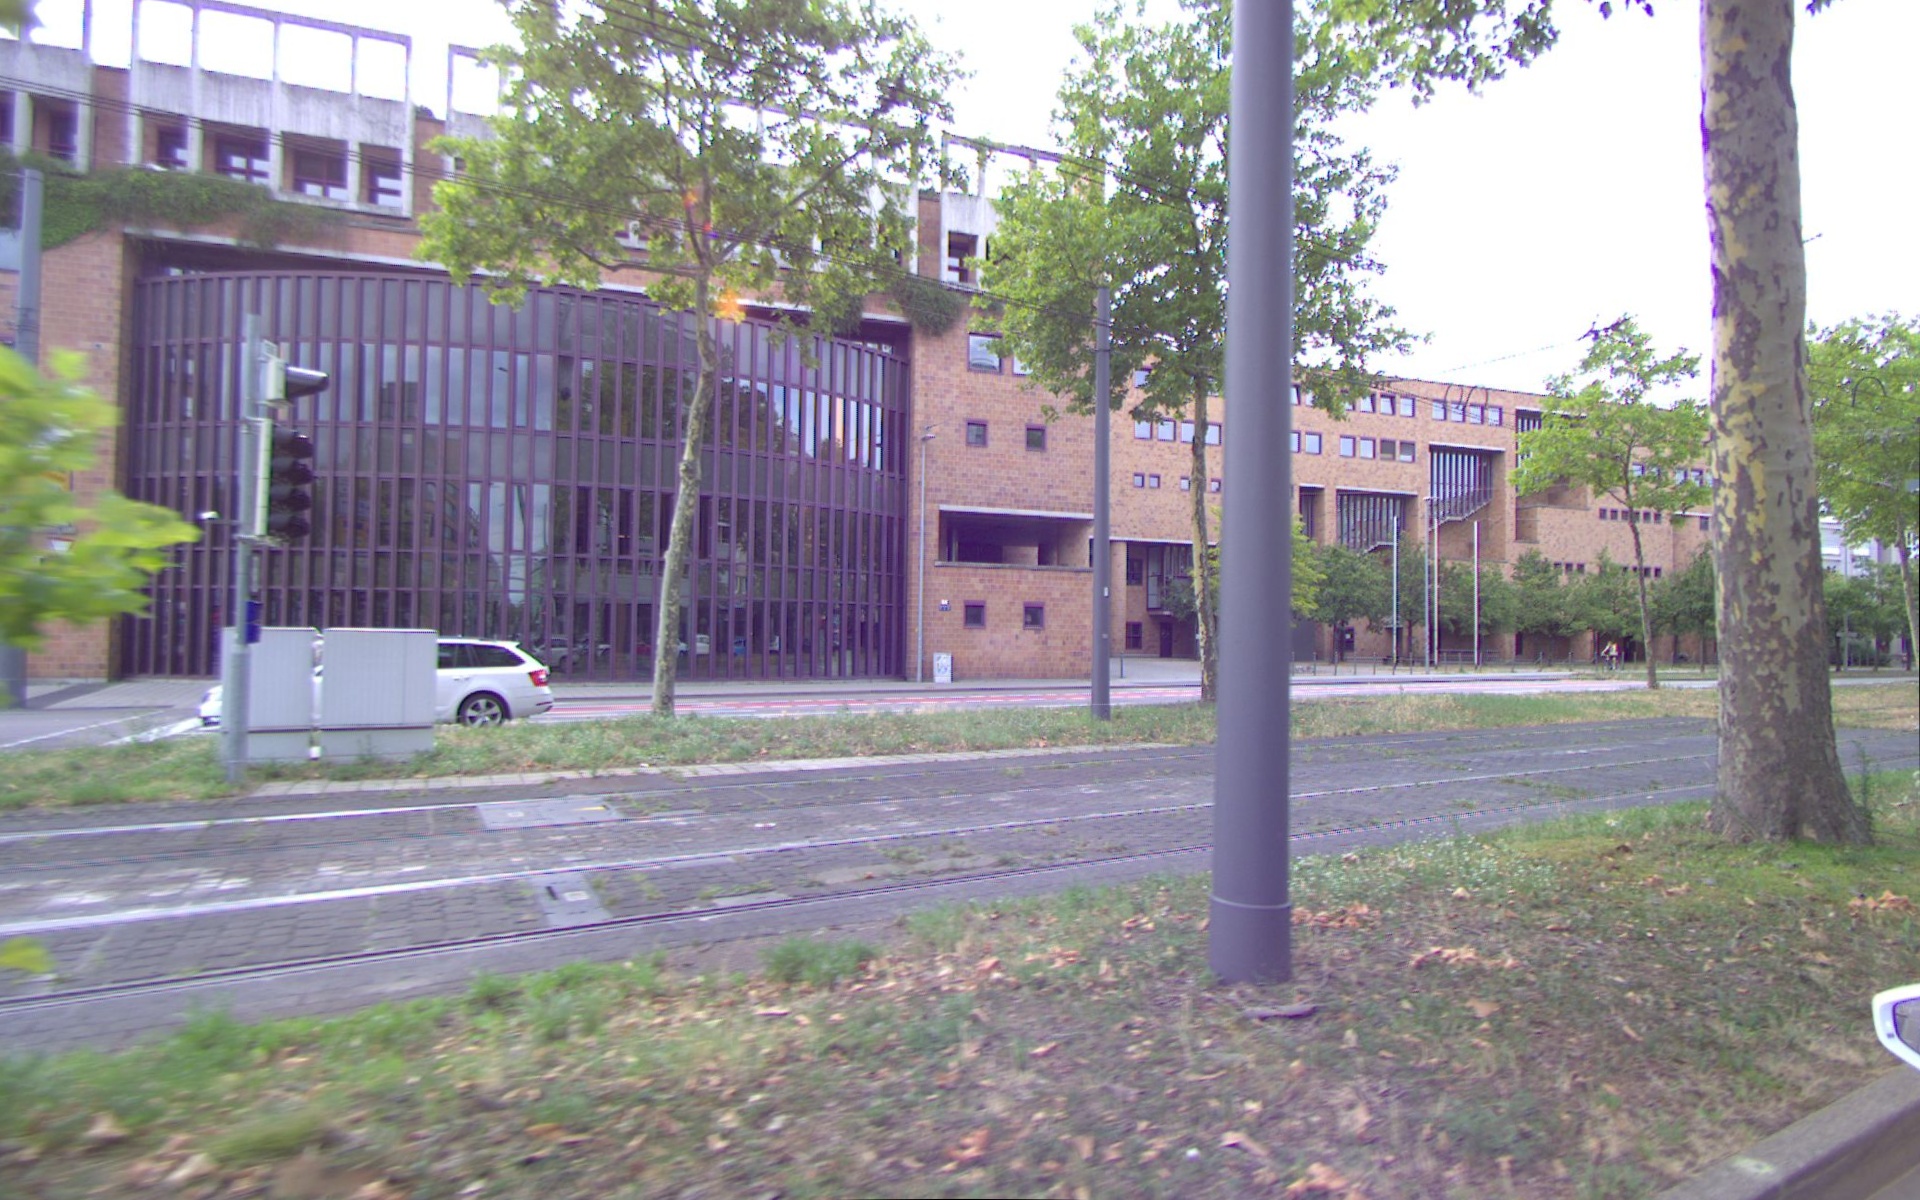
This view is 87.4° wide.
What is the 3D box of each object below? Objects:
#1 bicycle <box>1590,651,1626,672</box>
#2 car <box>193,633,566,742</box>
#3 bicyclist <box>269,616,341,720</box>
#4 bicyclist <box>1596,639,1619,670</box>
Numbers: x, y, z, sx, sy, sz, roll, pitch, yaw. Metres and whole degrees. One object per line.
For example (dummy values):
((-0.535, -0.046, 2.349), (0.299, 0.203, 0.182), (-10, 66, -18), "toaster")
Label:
((34.784, 3.286, 53.891), (2.066, 1.098, 0.666), (2, -2, -27), "bicycle")
((-8.555, 1.252, 15.197), (4.605, 1.440, 1.775), (2, -3, -31), "car")
((-10.646, 1.092, 16.365), (0.891, 1.630, 0.719), (2, -2, -30), "bicyclist")
((34.731, 2.917, 53.876), (0.971, 1.611, 0.662), (2, -2, -26), "bicyclist")
